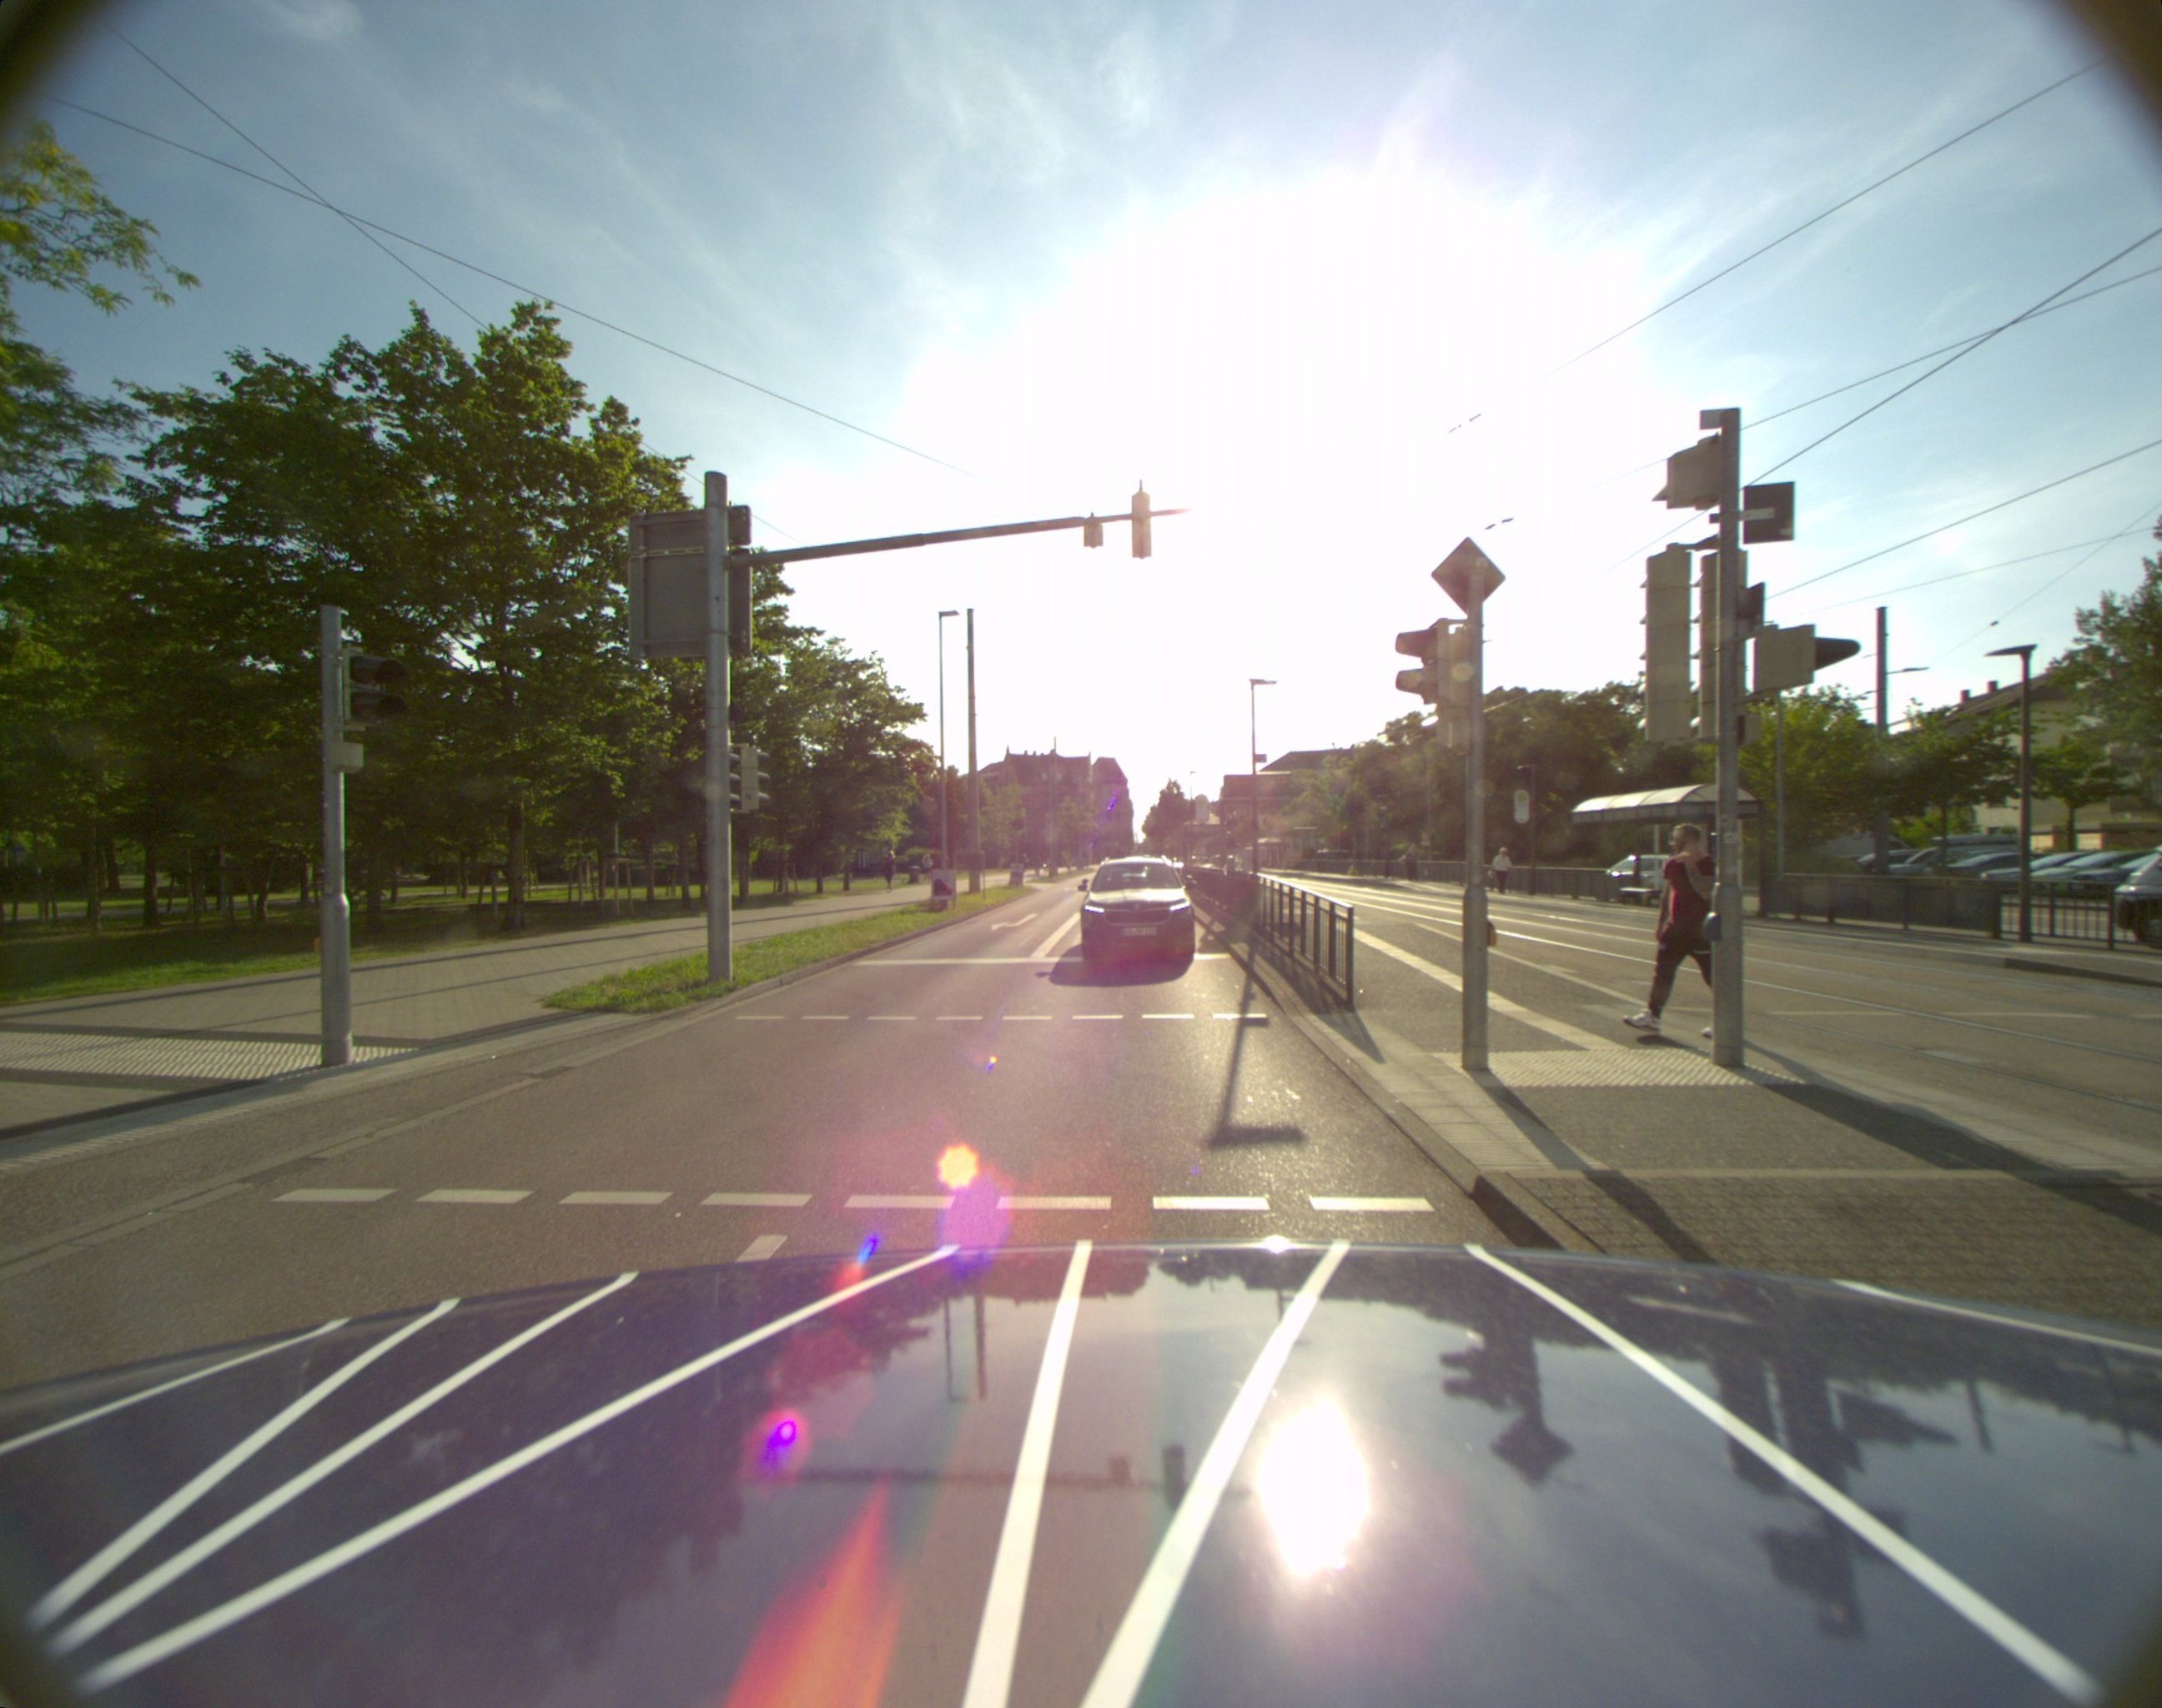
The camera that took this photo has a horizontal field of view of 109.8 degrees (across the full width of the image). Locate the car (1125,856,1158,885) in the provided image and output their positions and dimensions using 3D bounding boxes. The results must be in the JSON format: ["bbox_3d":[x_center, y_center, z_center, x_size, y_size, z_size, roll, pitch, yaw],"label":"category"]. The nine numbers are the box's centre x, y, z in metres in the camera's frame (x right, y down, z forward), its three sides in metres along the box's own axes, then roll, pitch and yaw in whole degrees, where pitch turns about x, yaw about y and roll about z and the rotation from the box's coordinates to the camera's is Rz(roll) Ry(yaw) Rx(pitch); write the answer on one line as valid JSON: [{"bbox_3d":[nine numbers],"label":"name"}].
[{"bbox_3d":[3.211,0.854,40.803,1.671,1.496,3.873,0,0,4],"label":"car"}]

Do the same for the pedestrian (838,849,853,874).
[{"bbox_3d":[-20.672,0.651,66.626,0.910,2.145,0.892,0,0,16],"label":"pedestrian"}]

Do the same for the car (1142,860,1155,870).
[{"bbox_3d":[11.336,1.841,127.141,1.998,1.674,4.001,0,0,2],"label":"car"}]

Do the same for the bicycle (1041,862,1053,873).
[{"bbox_3d":[-3.046,1.196,68.273,0.739,0.912,2.096,0,0,9],"label":"bicycle"}]

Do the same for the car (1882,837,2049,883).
[{"bbox_3d":[35.524,0.249,30.675,3.990,1.744,1.857,0,0,23],"label":"car"}]

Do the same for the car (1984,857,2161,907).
[{"bbox_3d":[30.702,0.815,22.990,3.990,1.420,1.776,0,0,25],"label":"car"}]

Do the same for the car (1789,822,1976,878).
[{"bbox_3d":[41.985,-0.138,40.055,6.585,2.792,1.776,-1,0,25],"label":"car"}]

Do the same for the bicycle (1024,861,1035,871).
[{"bbox_3d":[-4.695,1.097,68.860,0.740,0.912,2.095,0,0,3],"label":"bicycle"}]

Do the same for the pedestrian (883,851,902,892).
[{"bbox_3d":[-7.768,0.712,31.337,0.558,1.691,0.662,0,0,3],"label":"pedestrian"}]

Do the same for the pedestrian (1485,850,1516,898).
[{"bbox_3d":[14.541,0.682,26.338,0.707,1.618,0.727,0,0,4],"label":"pedestrian"}]

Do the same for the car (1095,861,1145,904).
[{"bbox_3d":[1.539,1.037,29.277,1.781,1.496,4.001,0,0,4],"label":"car"}]

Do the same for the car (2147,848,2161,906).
[{"bbox_3d":[28.109,0.548,17.361,3.990,1.420,1.776,0,0,25],"label":"car"}]

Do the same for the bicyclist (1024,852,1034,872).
[{"bbox_3d":[-4.714,0.713,68.530,0.753,1.763,1.119,0,0,3],"label":"bicyclist"}]

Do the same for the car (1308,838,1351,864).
[{"bbox_3d":[20.453,-0.221,62.836,2.150,2.002,5.389,0,0,4],"label":"car"}]

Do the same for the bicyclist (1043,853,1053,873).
[{"bbox_3d":[-3.002,0.821,68.536,0.730,1.763,1.016,0,1,8],"label":"bicyclist"}]

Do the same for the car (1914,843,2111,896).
[{"bbox_3d":[32.637,0.514,26.796,3.990,1.744,1.857,0,0,23],"label":"car"}]

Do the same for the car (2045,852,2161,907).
[{"bbox_3d":[29.477,0.666,20.452,3.990,1.420,1.776,0,0,25],"label":"car"}]

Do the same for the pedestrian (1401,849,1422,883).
[{"bbox_3d":[15.883,0.588,36.548,0.736,1.618,0.689,0,0,4],"label":"pedestrian"}]

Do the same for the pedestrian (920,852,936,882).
[{"bbox_3d":[-8.616,0.735,42.744,0.660,1.641,0.623,0,1,37],"label":"pedestrian"}]

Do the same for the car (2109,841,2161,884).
[{"bbox_3d":[46.338,0.344,32.108,1.813,1.789,4.007,0,0,27],"label":"car"}]

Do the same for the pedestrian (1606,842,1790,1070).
[{"bbox_3d":[4.736,0.743,5.887,0.882,1.660,0.672,0,0,6],"label":"pedestrian"}]

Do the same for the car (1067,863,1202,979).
[{"bbox_3d":[0.862,0.942,12.371,1.781,1.496,4.001,-2,0,4],"label":"car"}]

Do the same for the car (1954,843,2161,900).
[{"bbox_3d":[31.855,0.557,24.802,3.990,1.744,1.857,0,0,23],"label":"car"}]

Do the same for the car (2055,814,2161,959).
[{"bbox_3d":[17.521,0.483,10.293,2.181,2.226,5.255,0,0,5],"label":"car"}]

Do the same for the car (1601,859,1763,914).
[{"bbox_3d":[18.204,0.954,23.306,1.681,1.516,4.125,0,-1,0],"label":"car"}]

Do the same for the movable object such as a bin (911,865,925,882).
[{"bbox_3d":[-8.616,1.019,40.193,0.502,0.898,0.526,0,1,43],"label":"movable object such as a bin"}]
